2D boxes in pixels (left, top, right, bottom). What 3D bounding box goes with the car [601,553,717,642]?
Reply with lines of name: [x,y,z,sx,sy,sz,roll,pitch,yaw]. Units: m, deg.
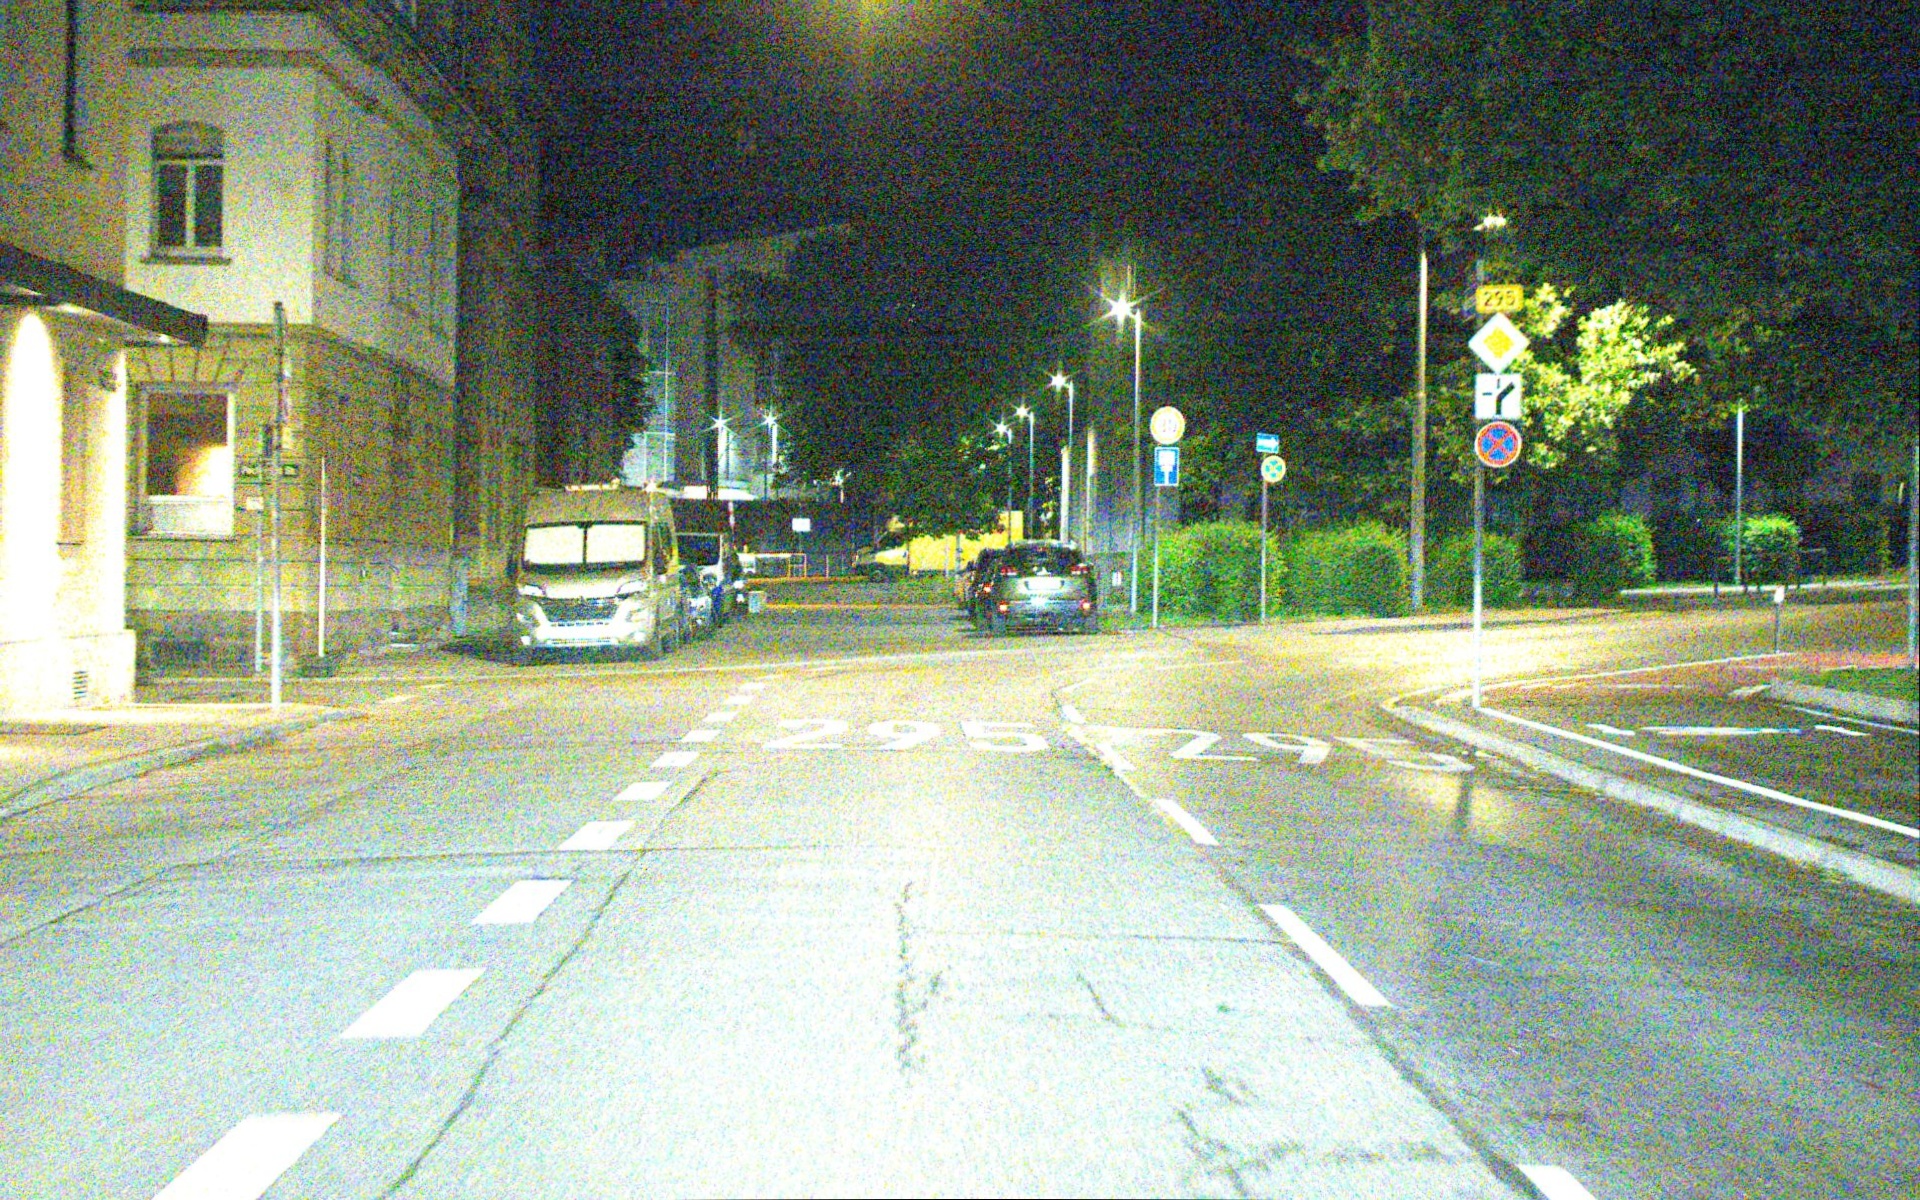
car: [-5.397,-0.062,61.211,1.838,1.502,4.743,-1,1,-8]

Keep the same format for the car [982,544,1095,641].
car: [1.372,-0.138,60.527,1.884,1.597,4.107,-1,0,1]

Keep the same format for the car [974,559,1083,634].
car: [1.282,-0.076,65.672,1.963,1.378,4.000,0,0,0]

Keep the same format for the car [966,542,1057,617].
car: [1.223,-0.493,83.440,2.040,1.688,4.882,-2,0,0]

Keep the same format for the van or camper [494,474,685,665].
van or camper: [-5.304,-0.443,50.038,2.158,2.527,6.227,-2,1,-1]

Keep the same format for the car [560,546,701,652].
car: [-5.272,-0.042,55.464,1.892,1.585,4.374,-1,1,-1]

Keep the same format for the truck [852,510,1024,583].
truck: [-0.897,-2.142,138.016,6.775,2.834,2.000,1,1,-3]

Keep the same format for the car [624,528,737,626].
car: [-5.739,-0.482,71.096,1.993,1.948,4.806,0,1,-1]

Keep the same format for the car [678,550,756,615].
car: [-5.885,-0.423,83.529,1.704,1.505,4.100,1,0,-2]
